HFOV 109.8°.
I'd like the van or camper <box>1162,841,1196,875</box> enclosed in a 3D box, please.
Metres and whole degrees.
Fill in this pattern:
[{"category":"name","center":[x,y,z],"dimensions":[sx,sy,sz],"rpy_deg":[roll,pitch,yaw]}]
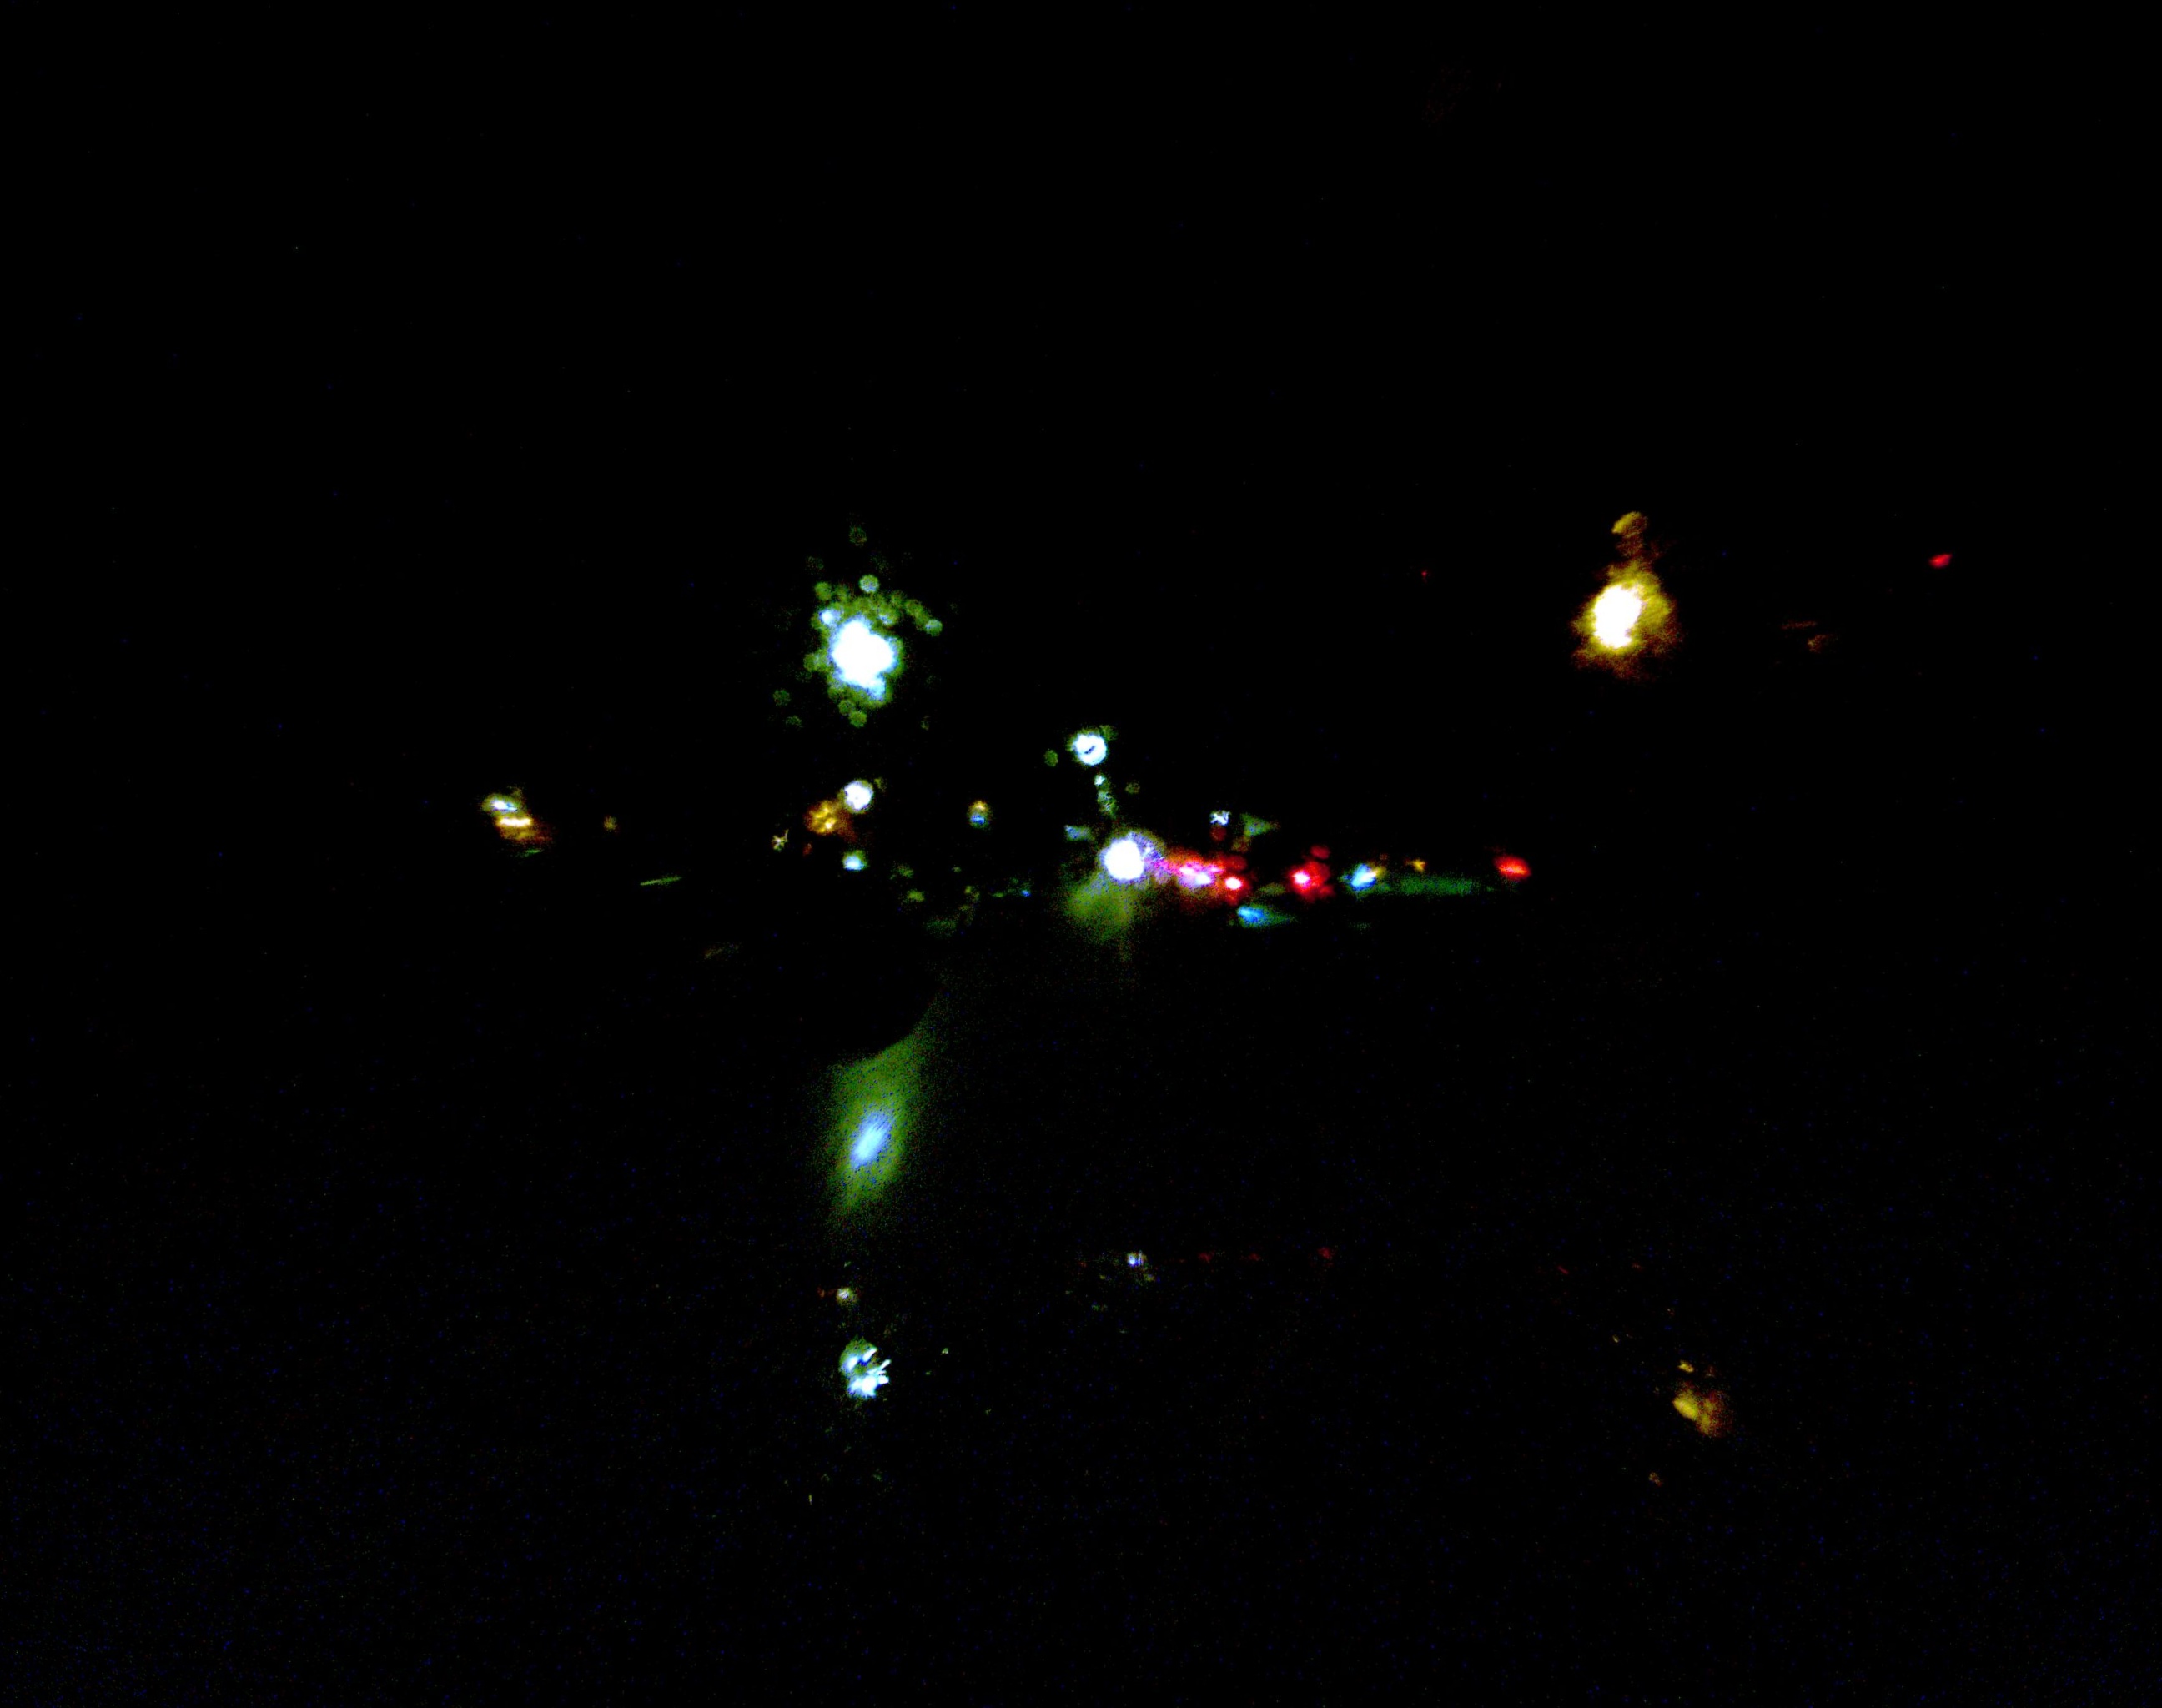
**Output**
[{"category":"van or camper","center":[6.393,0.234,50.002],"dimensions":[1.874,2.091,4.943],"rpy_deg":[0,0,4]}]

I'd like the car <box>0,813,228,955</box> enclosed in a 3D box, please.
[{"category":"car","center":[-13.779,0.341,9.486],"dimensions":[4.228,1.608,1.806],"rpy_deg":[0,0,1]}]

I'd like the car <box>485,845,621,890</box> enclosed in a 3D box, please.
[{"category":"car","center":[-19.321,0.447,28.089],"dimensions":[1.830,1.459,4.260],"rpy_deg":[-2,0,4]}]

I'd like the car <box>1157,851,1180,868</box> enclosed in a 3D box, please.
[{"category":"car","center":[7.458,0.486,64.979],"dimensions":[1.749,1.425,4.002],"rpy_deg":[0,-1,5]}]

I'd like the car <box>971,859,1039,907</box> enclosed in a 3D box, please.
[{"category":"car","center":[-2.544,0.928,26.372],"dimensions":[1.794,1.440,4.790],"rpy_deg":[2,0,0]}]

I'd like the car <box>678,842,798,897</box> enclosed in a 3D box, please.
[{"category":"car","center":[-11.628,0.493,26.135],"dimensions":[1.908,1.686,4.260],"rpy_deg":[-2,0,4]}]

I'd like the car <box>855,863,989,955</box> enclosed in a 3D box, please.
[{"category":"car","center":[-3.009,0.974,15.337],"dimensions":[1.717,1.480,4.436],"rpy_deg":[1,0,1]}]

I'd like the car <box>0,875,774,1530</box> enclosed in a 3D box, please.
[{"category":"car","center":[-3.370,0.945,4.009],"dimensions":[1.758,1.519,4.153],"rpy_deg":[2,0,0]}]

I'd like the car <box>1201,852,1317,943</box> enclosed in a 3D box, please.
[{"category":"car","center":[3.237,0.745,14.272],"dimensions":[1.551,1.490,2.793],"rpy_deg":[-2,0,2]}]

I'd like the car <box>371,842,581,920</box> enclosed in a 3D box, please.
[{"category":"car","center":[-12.447,0.506,15.919],"dimensions":[1.566,1.460,3.408],"rpy_deg":[0,0,3]}]

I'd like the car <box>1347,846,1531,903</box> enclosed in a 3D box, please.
[{"category":"car","center":[10.633,0.584,22.937],"dimensions":[4.696,1.609,2.002],"rpy_deg":[0,0,13]}]

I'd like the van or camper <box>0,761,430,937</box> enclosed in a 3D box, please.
[{"category":"van or camper","center":[-13.777,-0.071,12.131],"dimensions":[5.073,2.512,2.172],"rpy_deg":[0,0,4]}]

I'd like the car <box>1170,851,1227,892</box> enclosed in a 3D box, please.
[{"category":"car","center":[4.563,0.640,30.108],"dimensions":[1.800,1.452,4.579],"rpy_deg":[-2,0,4]}]

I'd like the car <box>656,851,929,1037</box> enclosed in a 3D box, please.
[{"category":"car","center":[-3.147,0.871,9.278],"dimensions":[1.717,1.698,4.187],"rpy_deg":[2,0,-1]}]
